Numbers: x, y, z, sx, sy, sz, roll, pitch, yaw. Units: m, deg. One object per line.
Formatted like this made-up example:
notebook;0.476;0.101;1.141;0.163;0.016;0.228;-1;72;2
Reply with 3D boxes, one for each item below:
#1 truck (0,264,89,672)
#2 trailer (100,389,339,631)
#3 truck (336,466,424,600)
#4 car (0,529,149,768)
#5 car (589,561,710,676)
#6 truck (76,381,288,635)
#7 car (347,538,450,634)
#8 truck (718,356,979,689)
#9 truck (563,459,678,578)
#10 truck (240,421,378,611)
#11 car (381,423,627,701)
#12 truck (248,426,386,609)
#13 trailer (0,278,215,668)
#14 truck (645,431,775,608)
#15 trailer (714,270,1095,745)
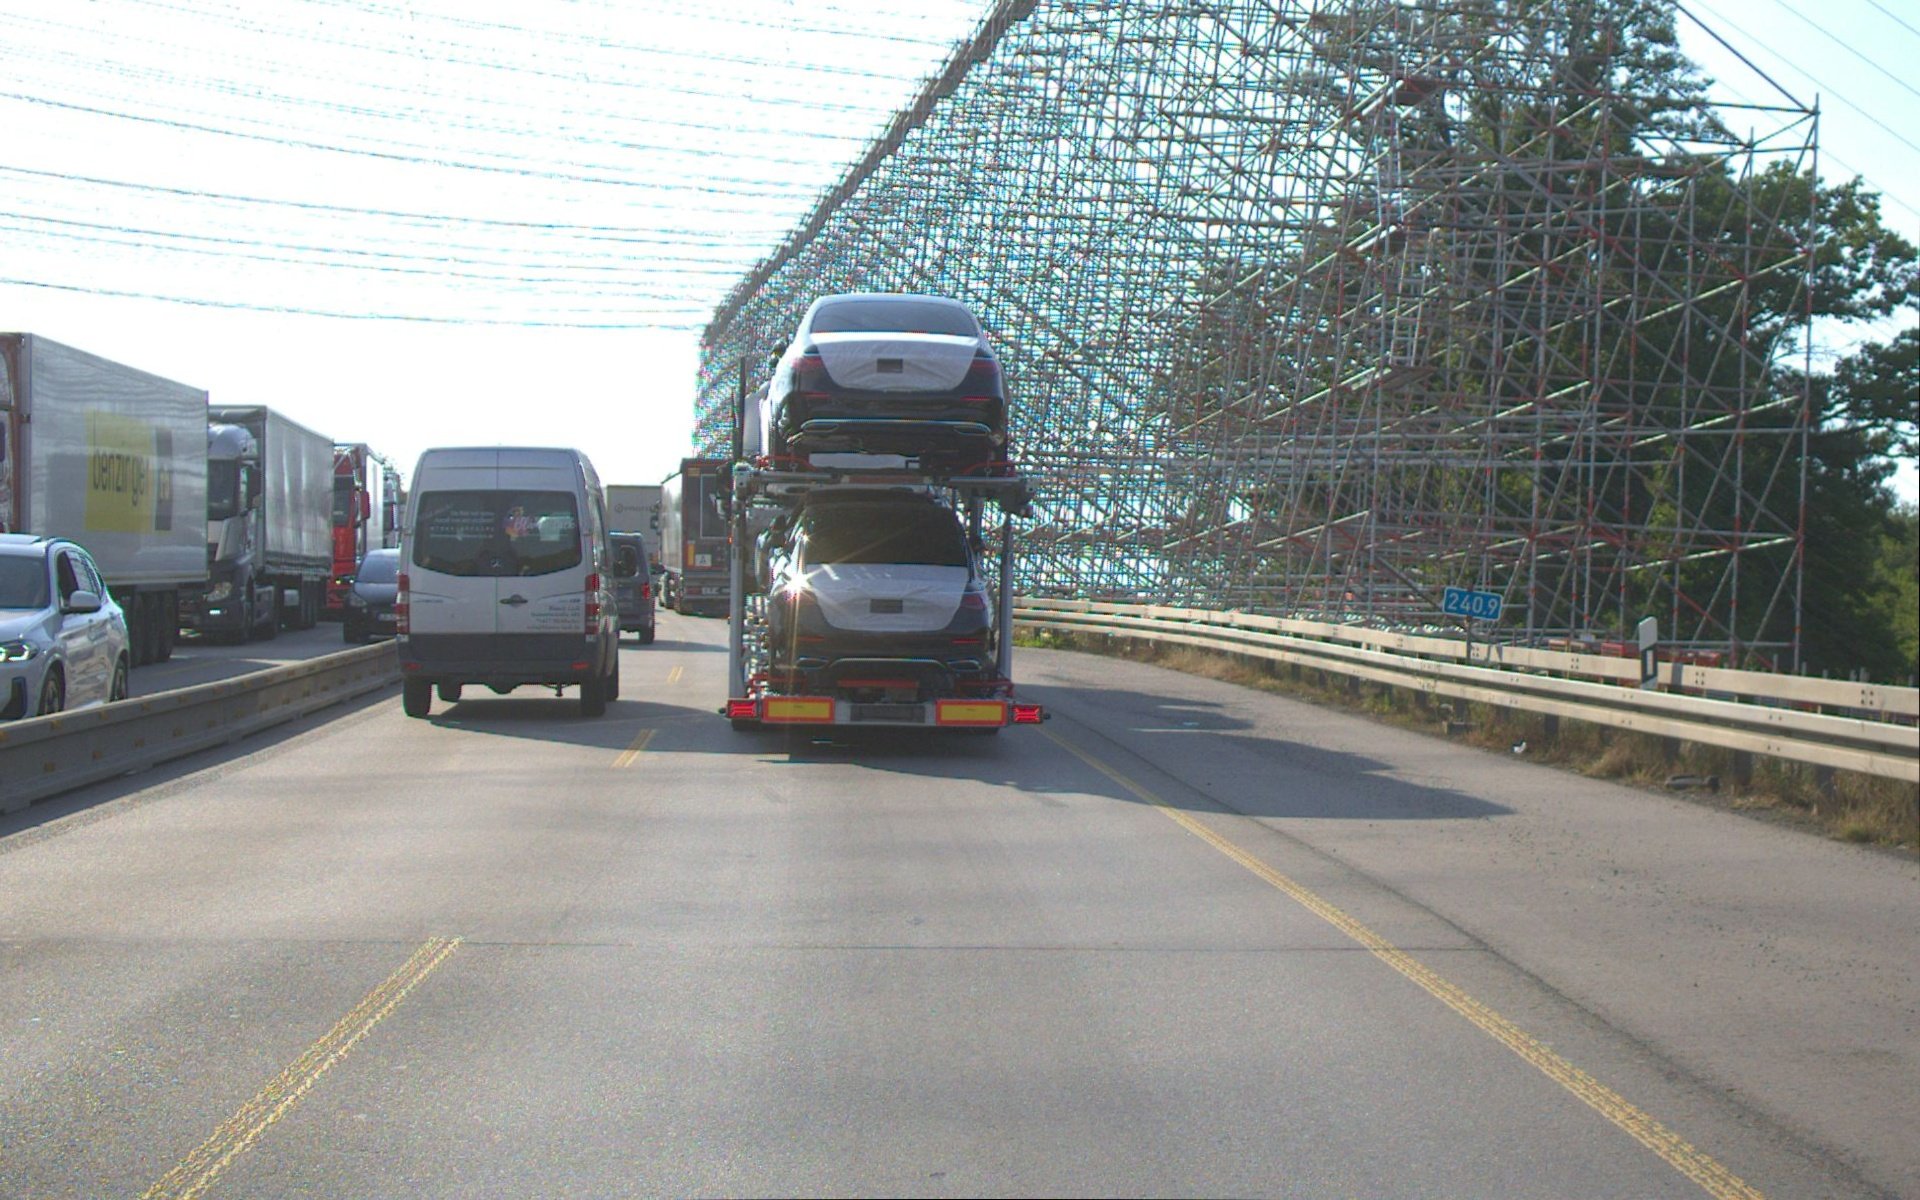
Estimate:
truck;-11.635;-1.422;38.283;2.744;4.285;5.935;1;0;-4
trailer;-13.957;-1.609;65.968;2.798;4.127;13.969;1;1;-5
truck;-18.862;-2.162;111.612;2.661;4.215;6.106;1;1;-11
car;-7.663;0.280;26.696;1.869;1.583;4.805;2;2;-4
car;-5.710;0.319;62.902;1.993;2.007;4.001;1;0;-8
truck;-13.330;-1.535;59.300;2.787;4.127;5.935;1;0;-5
car;-10.070;-0.288;61.871;1.752;1.652;4.864;0;1;-9
truck;-1.474;-0.899;42.109;2.881;3.690;7.326;1;1;-4
truck;-12.959;-3.140;132.390;3.686;4.206;13.671;-2;1;-3
truck;-14.790;-1.870;78.509;2.786;4.127;6.681;1;0;-8
car;-4.486;-0.368;34.340;1.956;2.612;4.000;0;0;-1
truck;-15.751;-1.951;85.011;2.786;4.127;13.811;1;1;-8
trailer;-12.148;-1.492;44.984;2.765;4.319;13.883;1;1;-4
truck;-6.818;-2.140;92.125;2.731;4.370;11.524;2;1;-7
trailer;-0.966;-0.796;34.570;2.868;3.712;14.950;1;1;-4
